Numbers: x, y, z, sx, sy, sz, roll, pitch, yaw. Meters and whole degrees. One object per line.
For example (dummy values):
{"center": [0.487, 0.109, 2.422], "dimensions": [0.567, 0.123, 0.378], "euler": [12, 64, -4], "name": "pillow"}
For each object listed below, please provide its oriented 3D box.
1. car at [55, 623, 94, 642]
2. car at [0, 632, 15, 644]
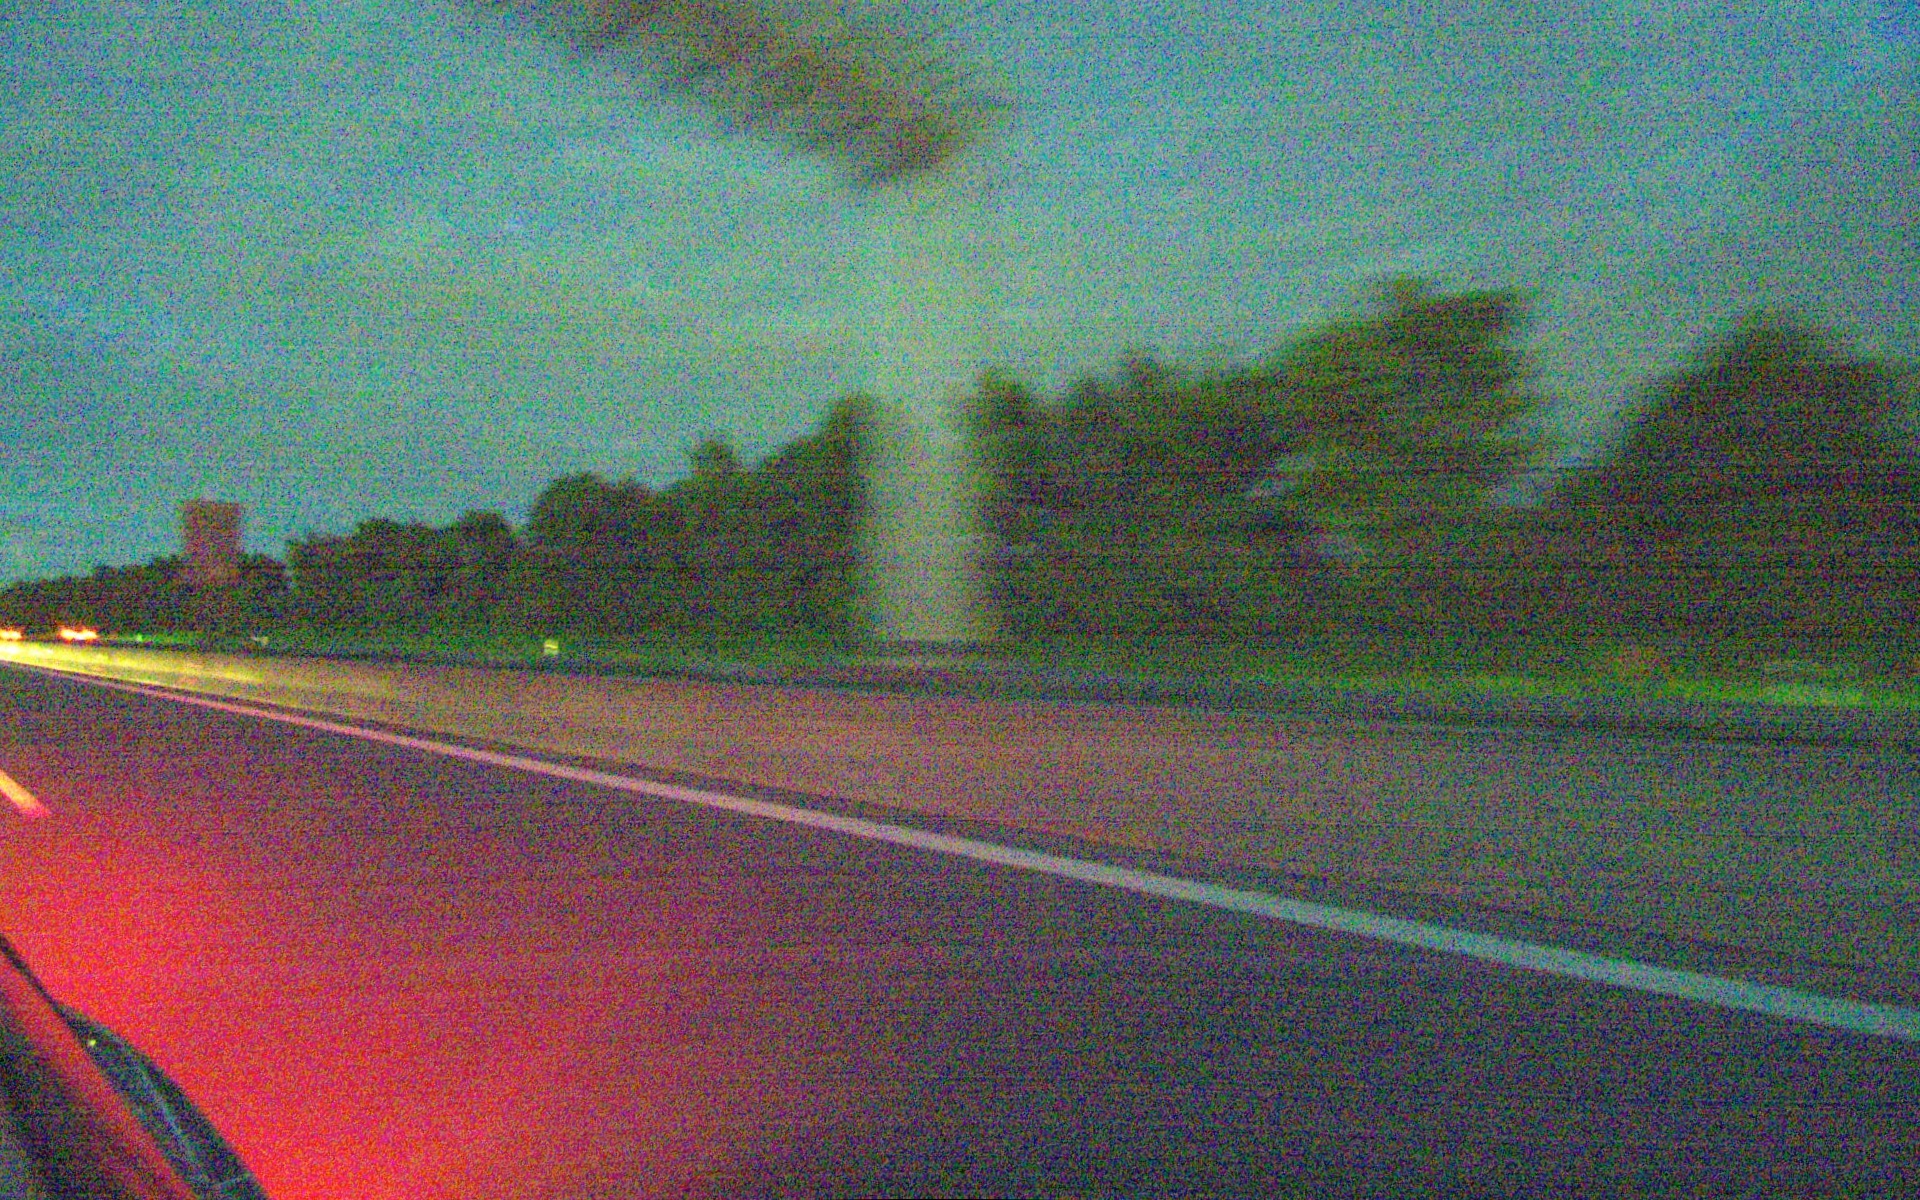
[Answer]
{"center": [-77.809, 2.860, 88.885], "dimensions": [4.400, 1.630, 1.884], "euler": [-1, -2, 40], "name": "car"}
{"center": [-143.686, 5.674, 152.191], "dimensions": [5.044, 1.646, 1.883], "euler": [0, 2, 42], "name": "car"}
